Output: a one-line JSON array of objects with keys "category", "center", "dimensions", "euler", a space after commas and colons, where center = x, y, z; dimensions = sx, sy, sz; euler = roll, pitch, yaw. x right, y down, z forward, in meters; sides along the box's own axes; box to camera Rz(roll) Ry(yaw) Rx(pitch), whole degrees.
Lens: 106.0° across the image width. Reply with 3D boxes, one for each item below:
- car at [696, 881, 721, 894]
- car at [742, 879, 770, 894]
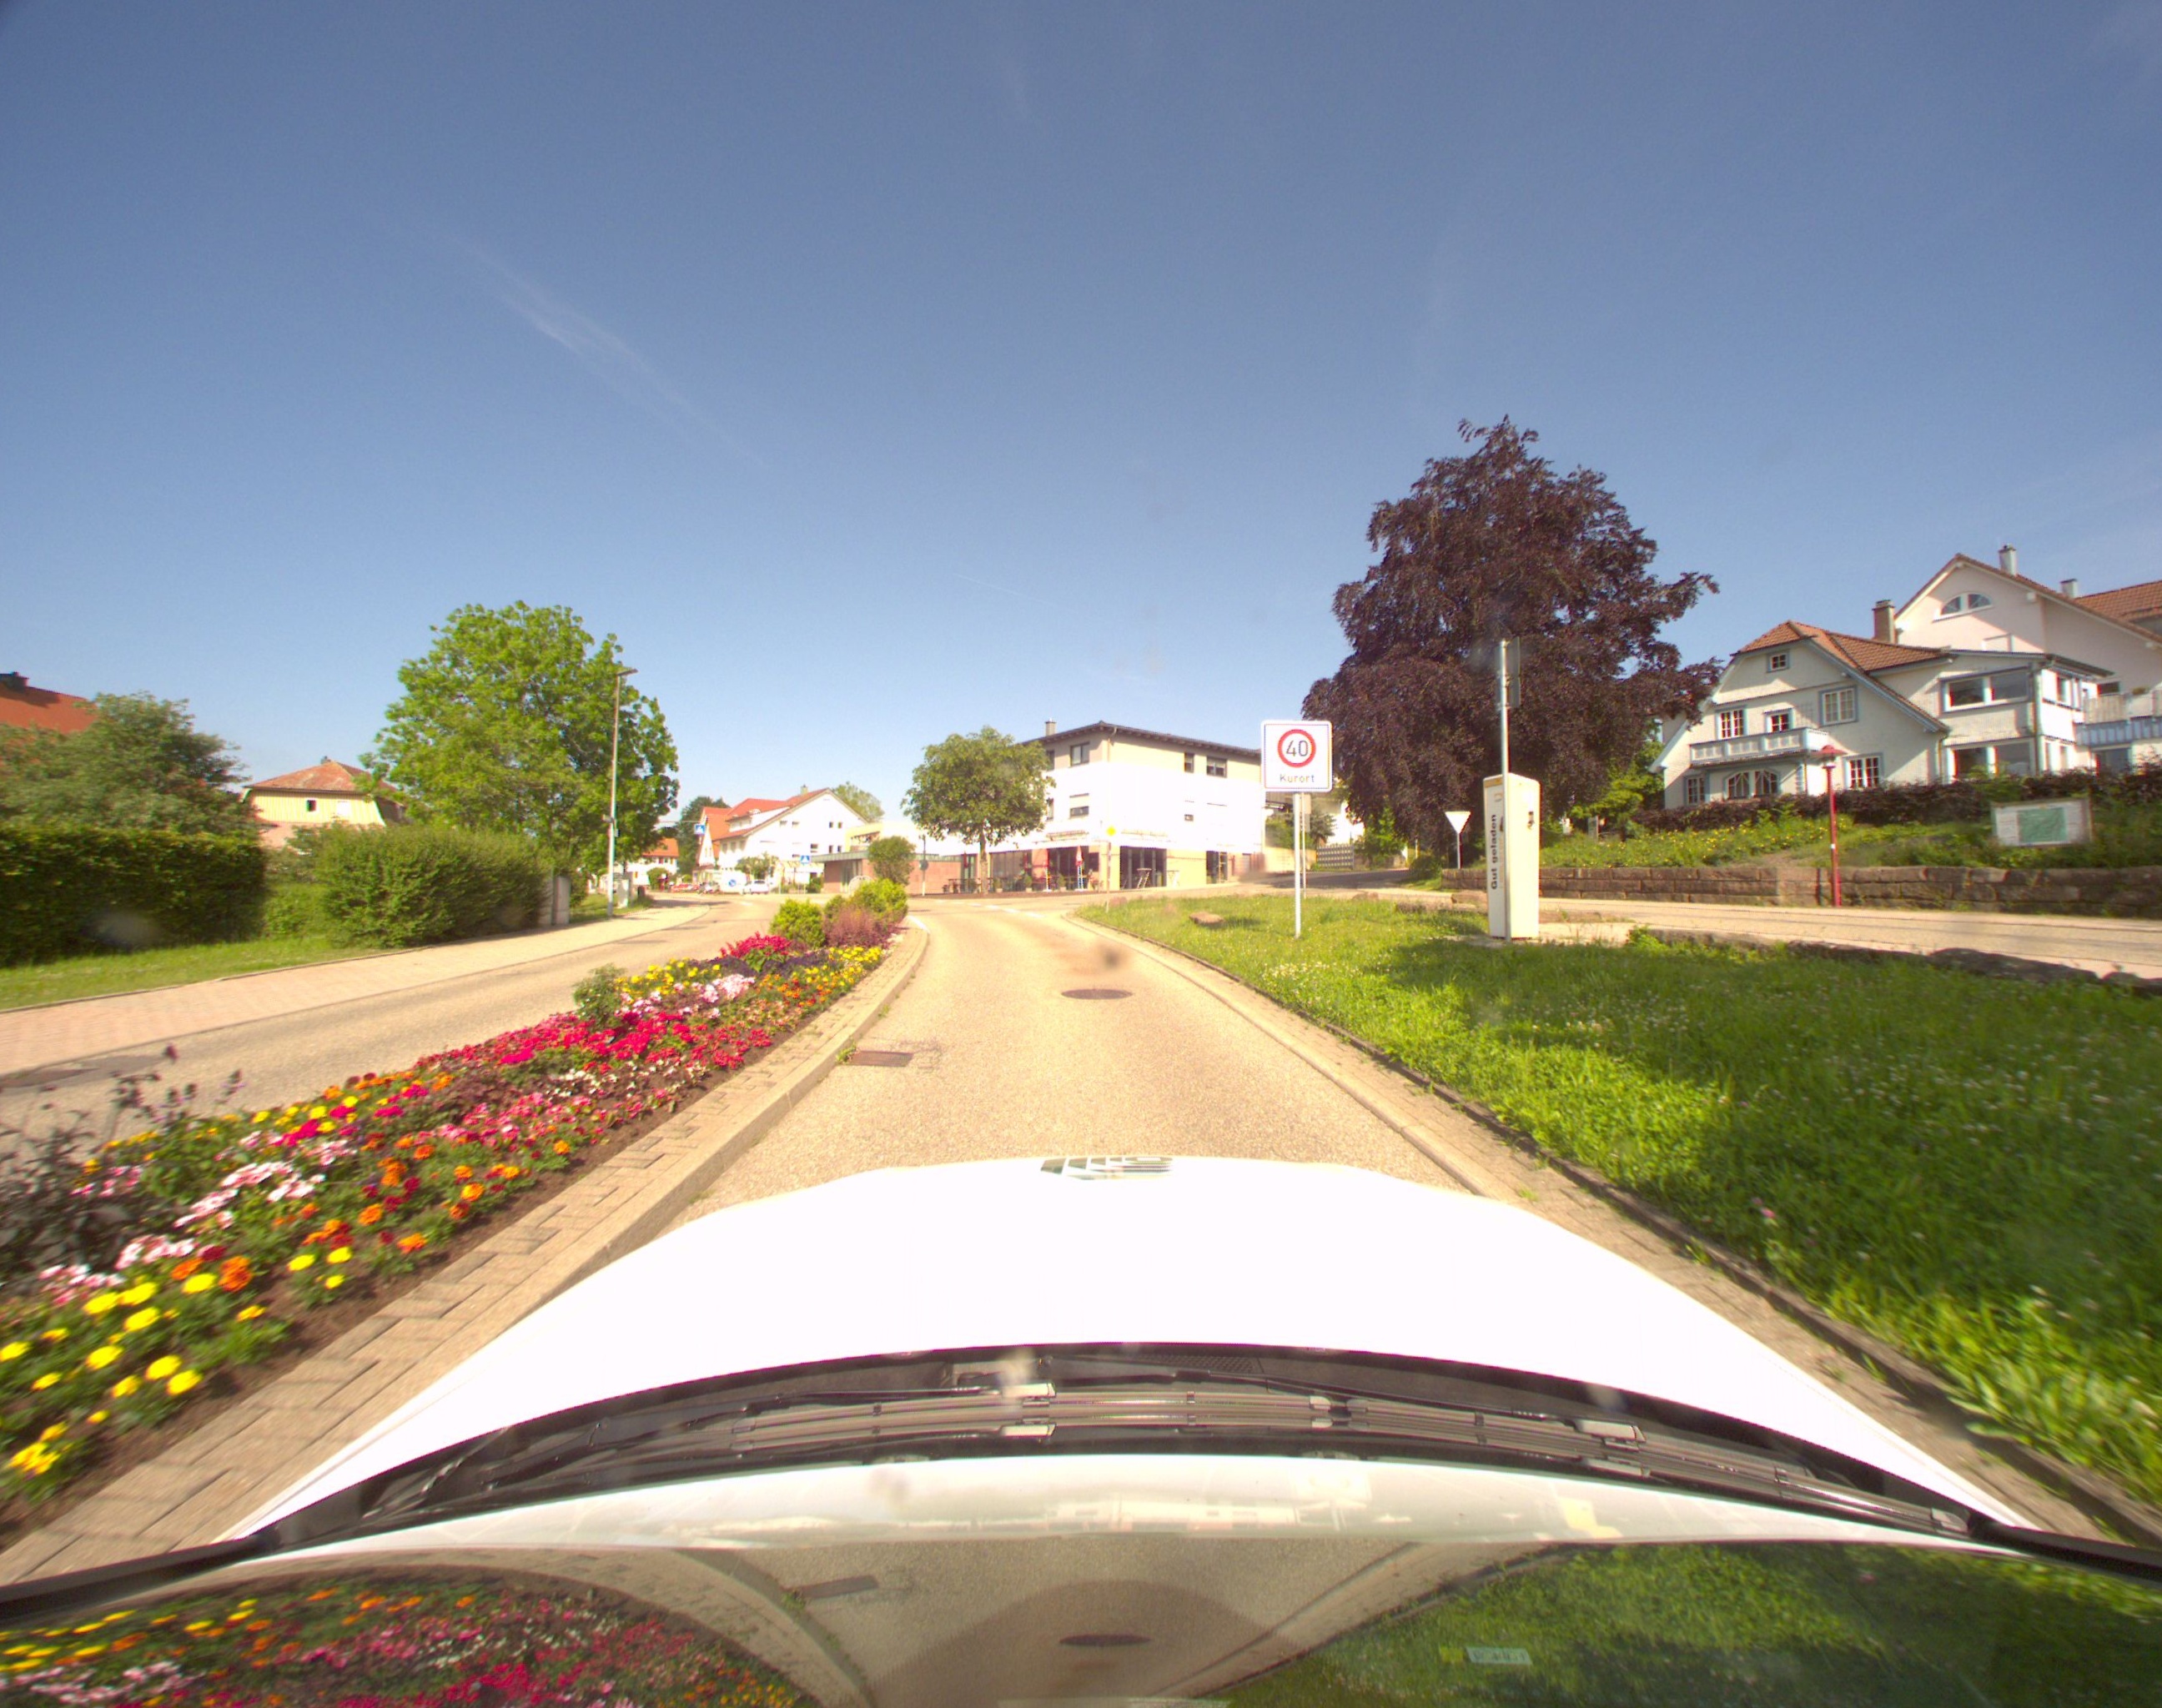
[{"category": "car", "center": [-43.518, 3.890, 95.172], "dimensions": [1.649, 1.420, 3.888], "euler": [-1, -2, -41]}, {"category": "car", "center": [-32.235, 3.226, 80.647], "dimensions": [1.773, 1.423, 3.594], "euler": [-1, -2, -35]}]
